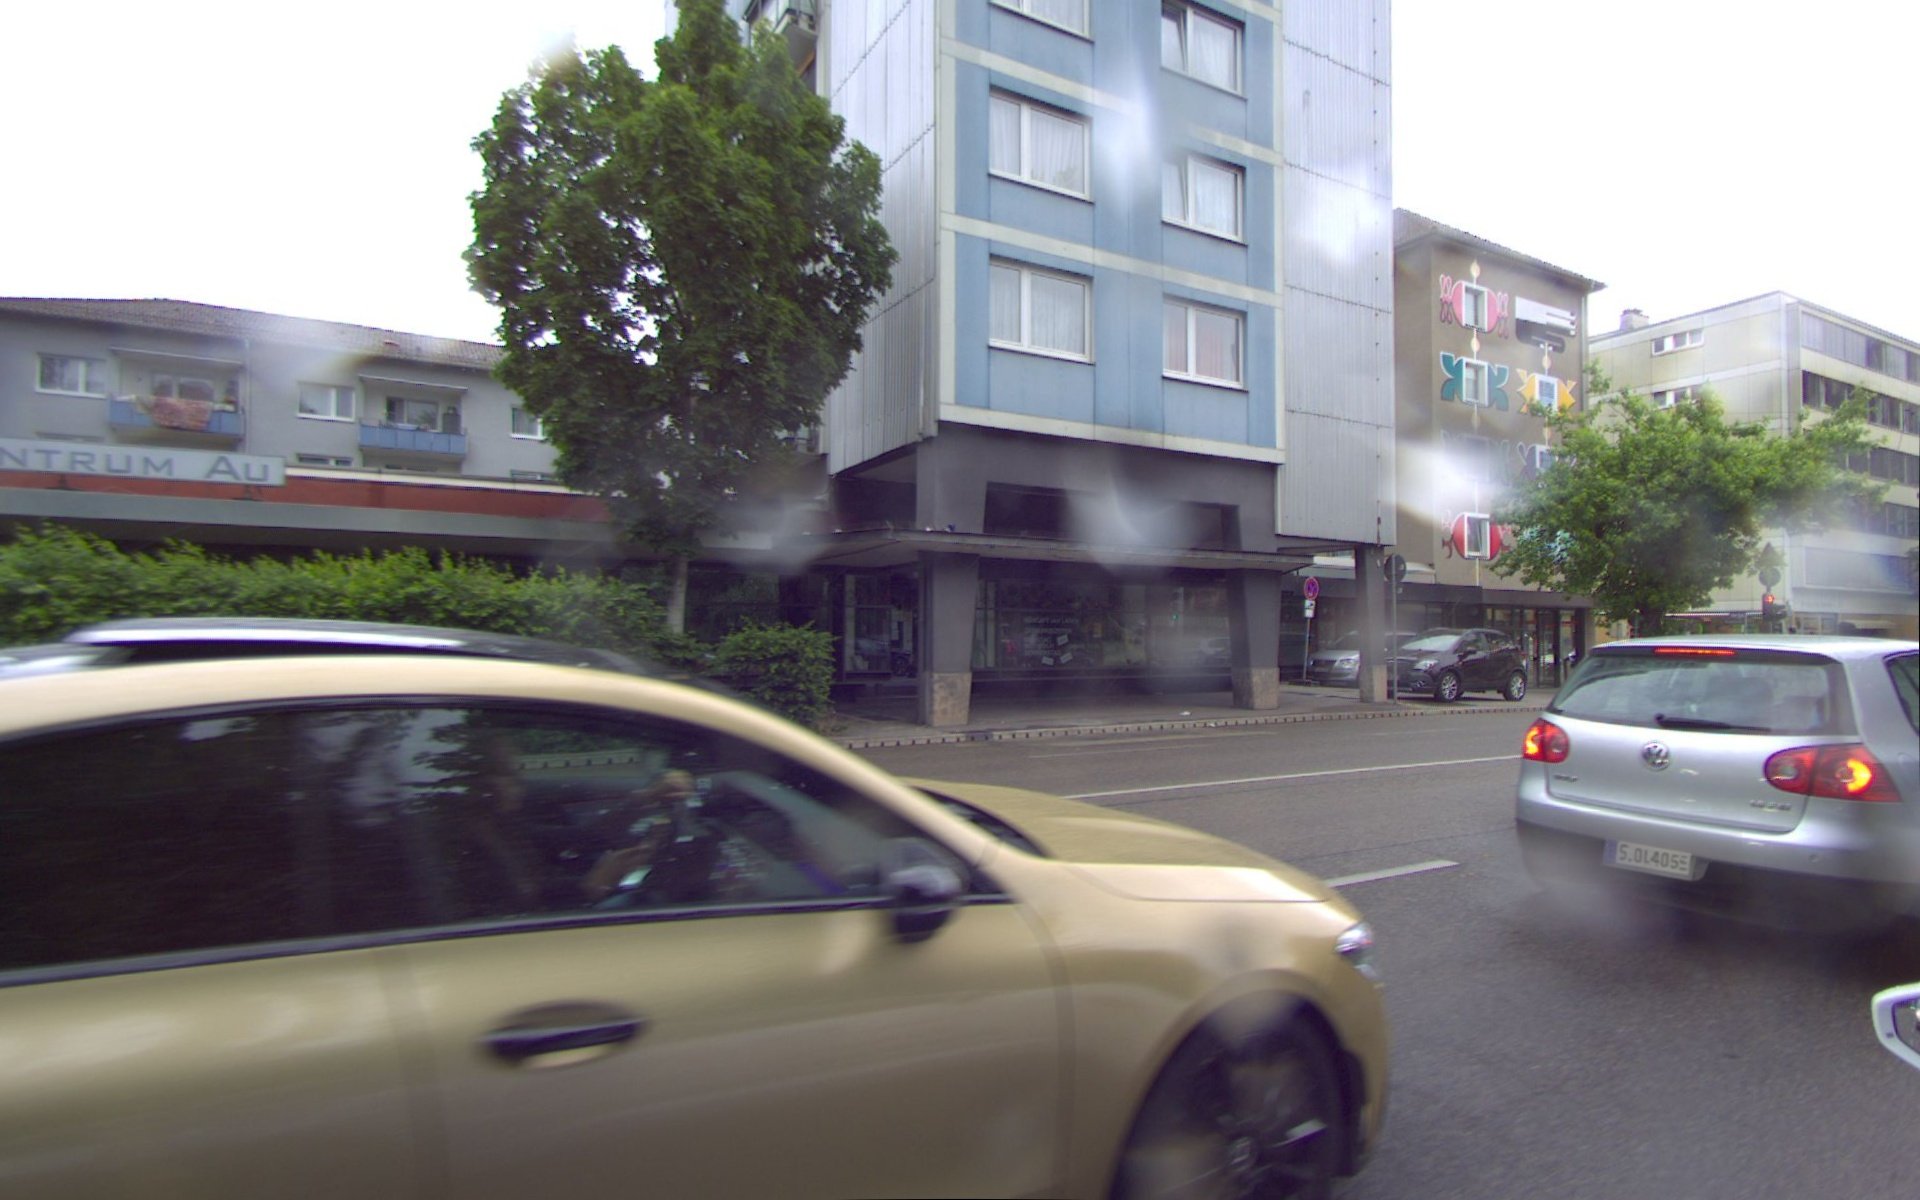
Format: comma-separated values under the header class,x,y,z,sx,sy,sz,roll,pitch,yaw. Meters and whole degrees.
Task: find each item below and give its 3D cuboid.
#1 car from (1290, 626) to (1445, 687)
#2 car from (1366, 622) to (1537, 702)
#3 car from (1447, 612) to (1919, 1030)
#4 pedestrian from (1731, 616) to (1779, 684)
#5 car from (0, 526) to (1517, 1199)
class,x,y,z,sx,sy,sz,roll,pitch,yaw
car,11.976,1.626,29.472,4.460,1.676,1.983,2,-2,-31
car,11.563,1.407,23.564,4.237,1.728,1.532,2,-1,-31
car,4.701,0.881,5.463,4.114,1.506,1.735,2,-3,-31
pedestrian,24.481,1.538,30.939,0.879,2.040,0.933,2,-4,-39
car,-0.985,0.704,2.329,4.535,1.483,2.055,1,-2,-32
